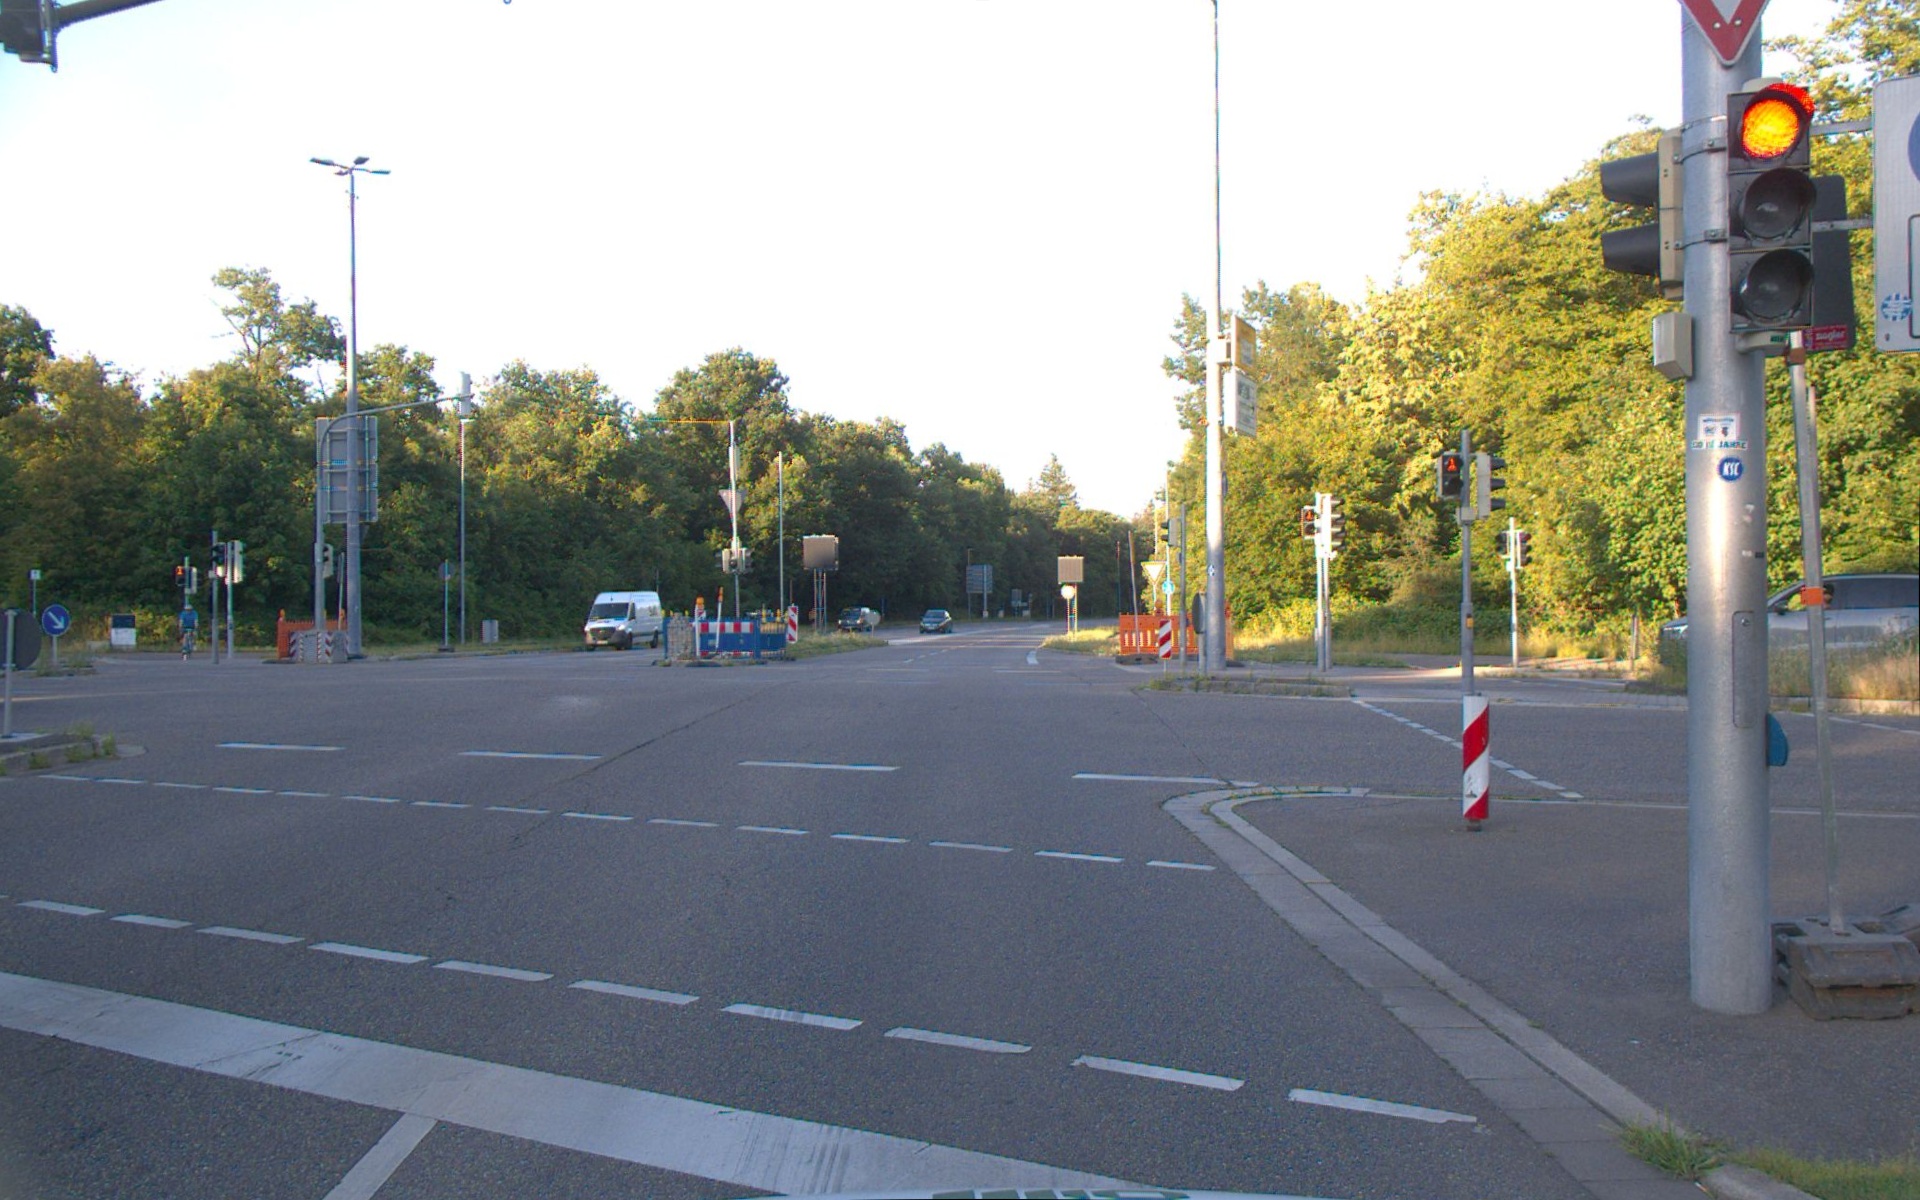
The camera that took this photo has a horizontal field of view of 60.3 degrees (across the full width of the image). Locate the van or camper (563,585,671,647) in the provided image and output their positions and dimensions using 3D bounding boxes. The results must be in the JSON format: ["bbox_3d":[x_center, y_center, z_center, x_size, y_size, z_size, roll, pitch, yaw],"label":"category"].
[{"bbox_3d":[-15.672,0.715,76.112,2.824,2.699,7.127,0,0,6],"label":"van or camper"}]

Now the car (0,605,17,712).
[{"bbox_3d":[-14.061,0.805,20.785,1.853,1.466,4.499,0,0,-1],"label":"car"}]

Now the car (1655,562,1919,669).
[{"bbox_3d":[13.742,0.243,26.491,4.716,1.626,2.000,-1,0,21],"label":"car"}]

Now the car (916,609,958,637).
[{"bbox_3d":[-1.519,1.540,111.712,1.951,1.668,4.004,-2,1,11],"label":"car"}]

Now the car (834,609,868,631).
[{"bbox_3d":[-8.481,1.544,128.856,1.951,1.668,4.003,0,0,7],"label":"car"}]

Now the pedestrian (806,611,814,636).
[{"bbox_3d":[-12.482,1.984,137.545,0.511,2.049,0.600,1,-1,-1],"label":"pedestrian"}]
